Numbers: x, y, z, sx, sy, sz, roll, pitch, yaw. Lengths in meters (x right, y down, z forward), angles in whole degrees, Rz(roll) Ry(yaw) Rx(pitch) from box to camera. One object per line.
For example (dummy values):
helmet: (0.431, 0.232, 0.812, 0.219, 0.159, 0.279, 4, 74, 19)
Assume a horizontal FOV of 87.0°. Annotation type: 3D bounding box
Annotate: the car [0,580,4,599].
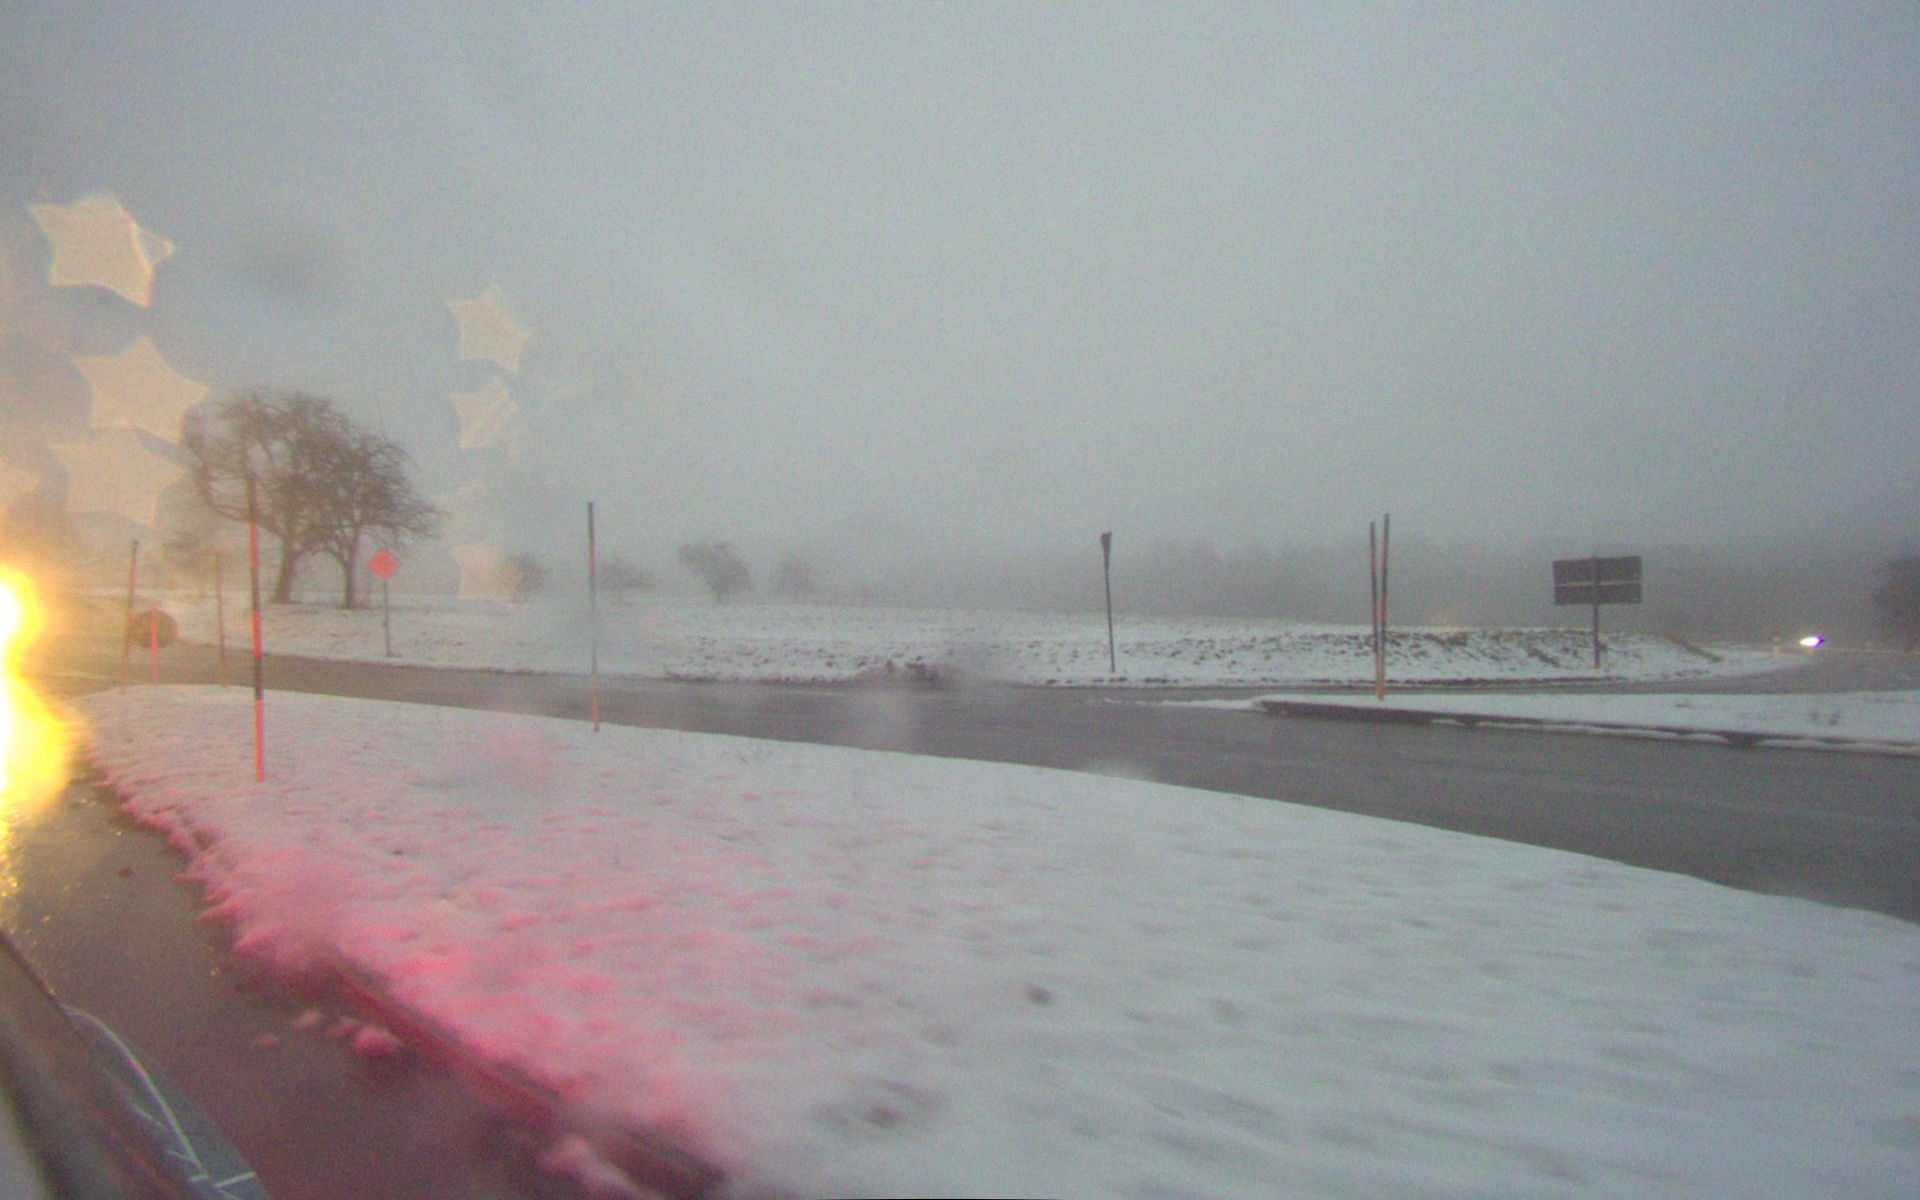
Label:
car: (-93.612, -1.007, 97.633, 1.971, 1.820, 4.003, -1, 1, -45)
